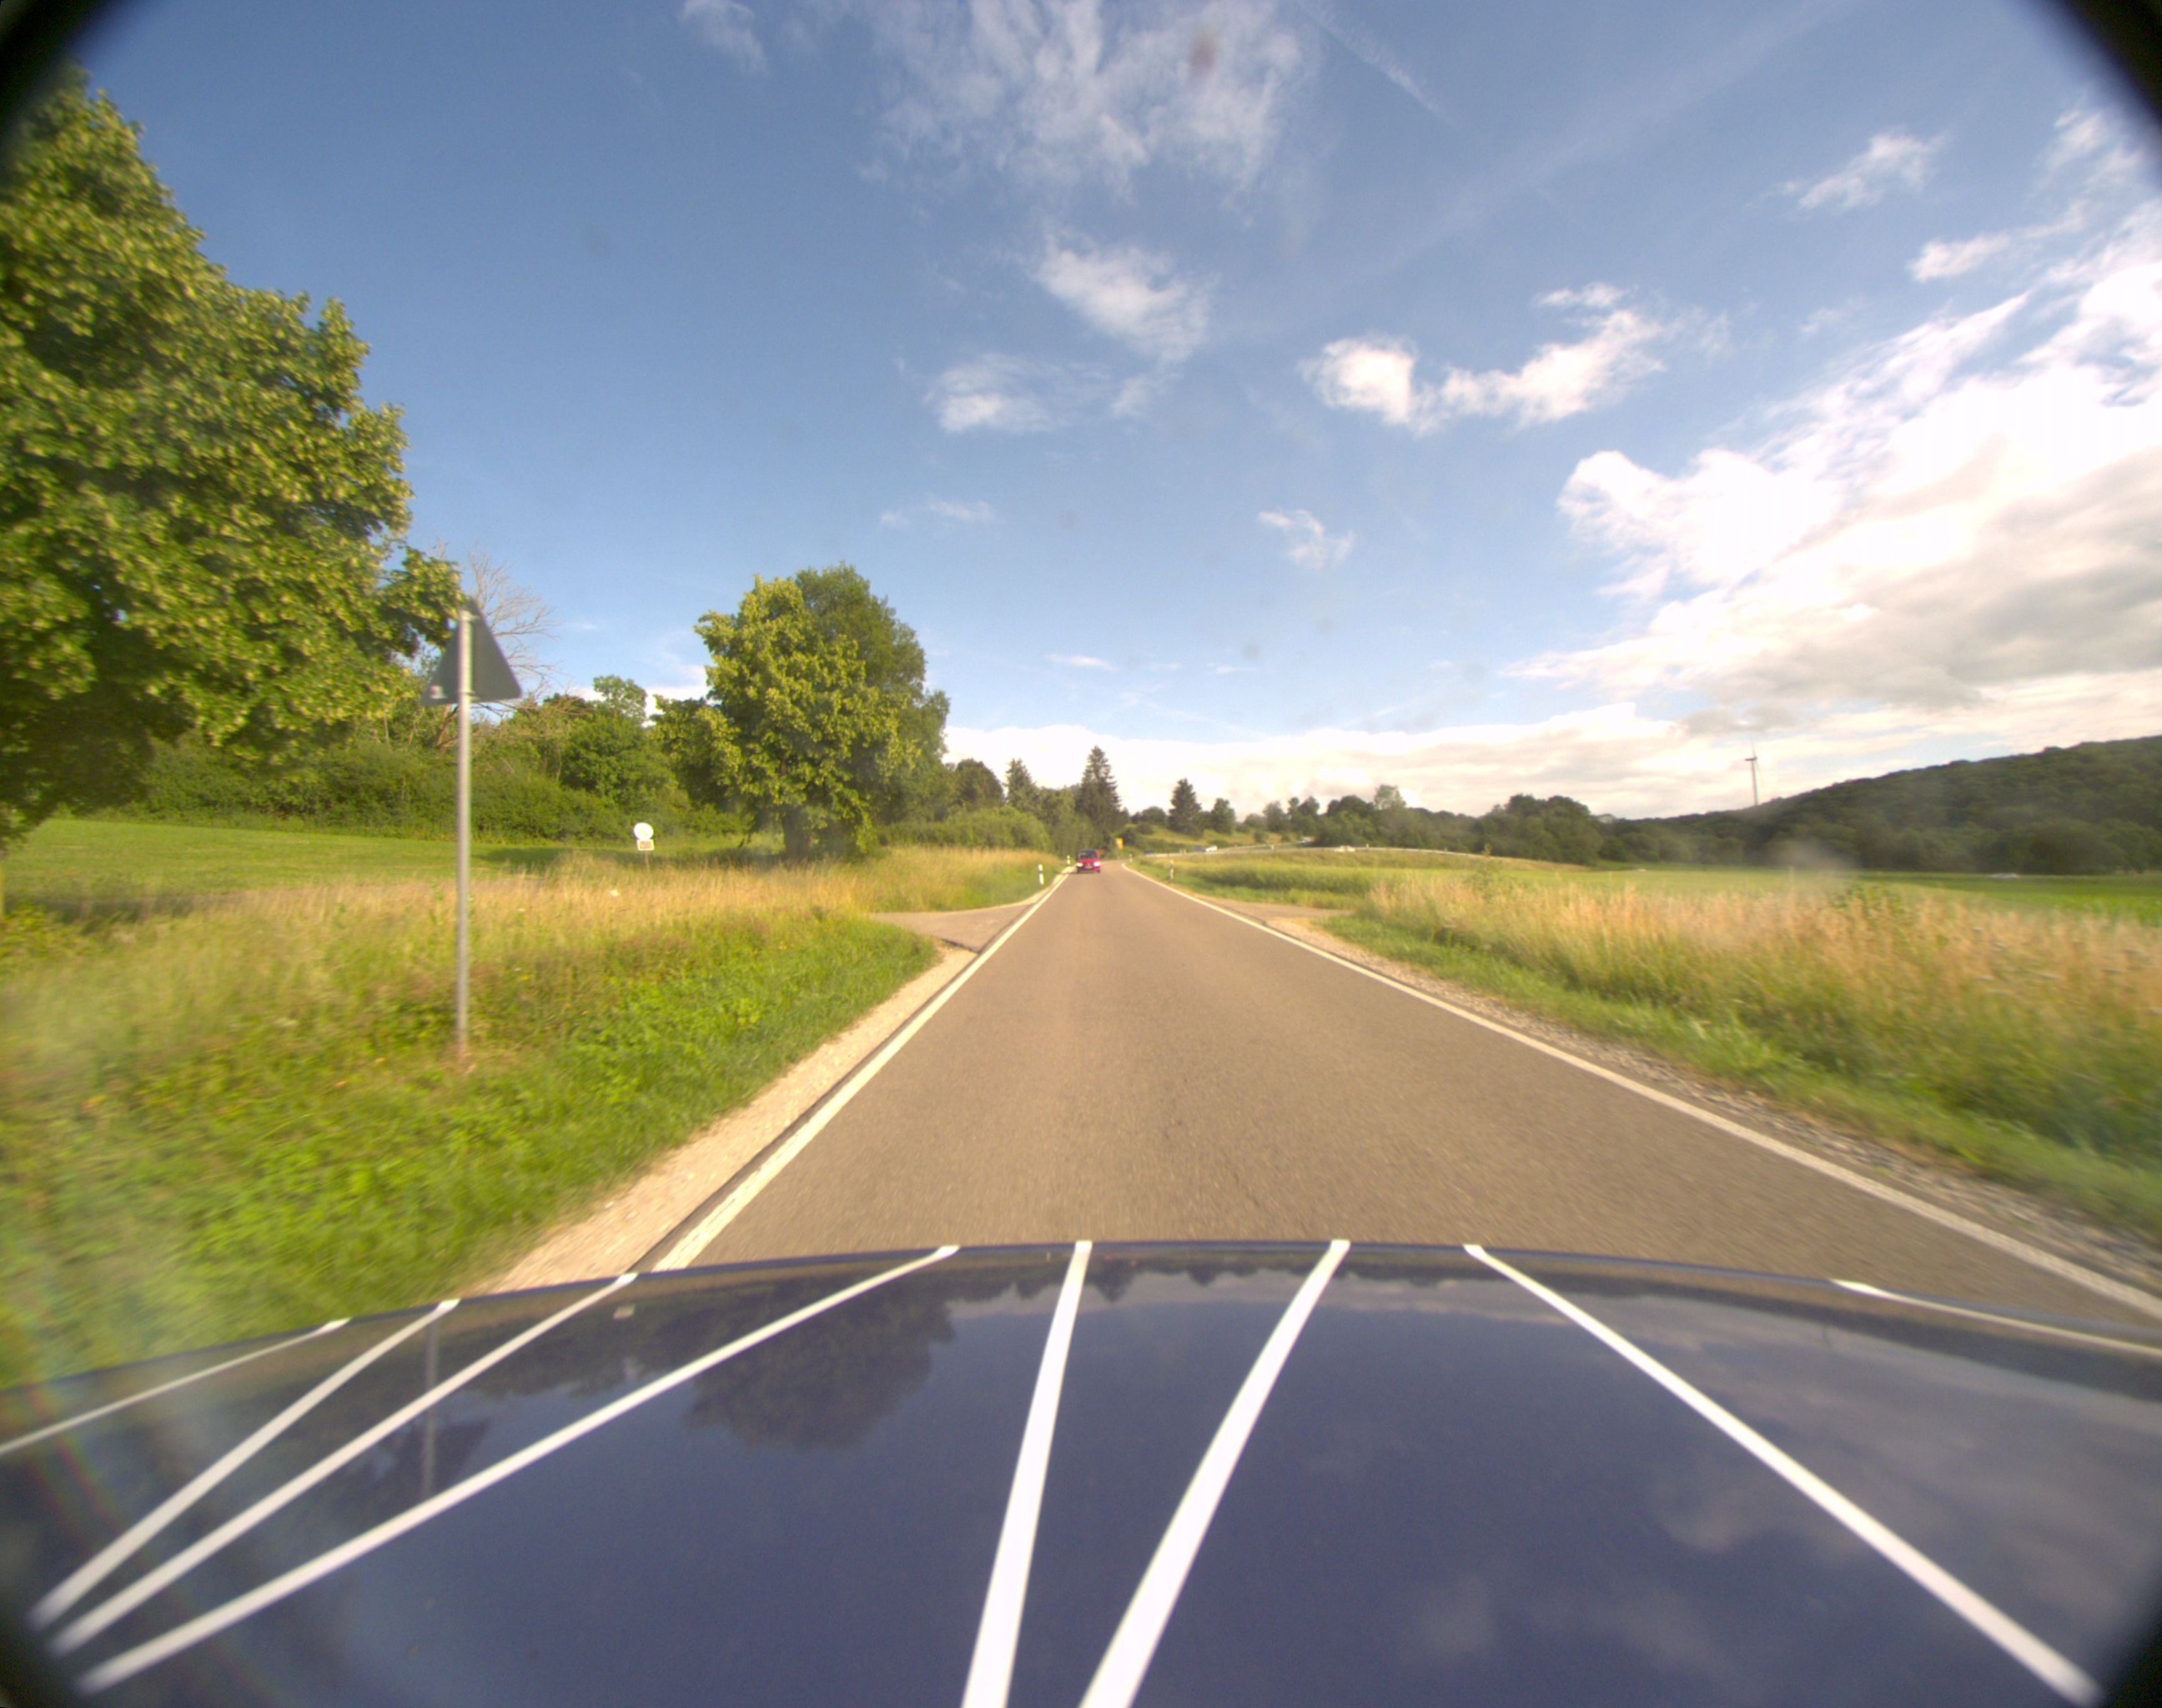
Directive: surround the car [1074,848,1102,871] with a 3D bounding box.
[{"bbox_3d":[0.574,0.401,58.019,1.820,1.645,4.001,1,0,4],"label":"car"}]
